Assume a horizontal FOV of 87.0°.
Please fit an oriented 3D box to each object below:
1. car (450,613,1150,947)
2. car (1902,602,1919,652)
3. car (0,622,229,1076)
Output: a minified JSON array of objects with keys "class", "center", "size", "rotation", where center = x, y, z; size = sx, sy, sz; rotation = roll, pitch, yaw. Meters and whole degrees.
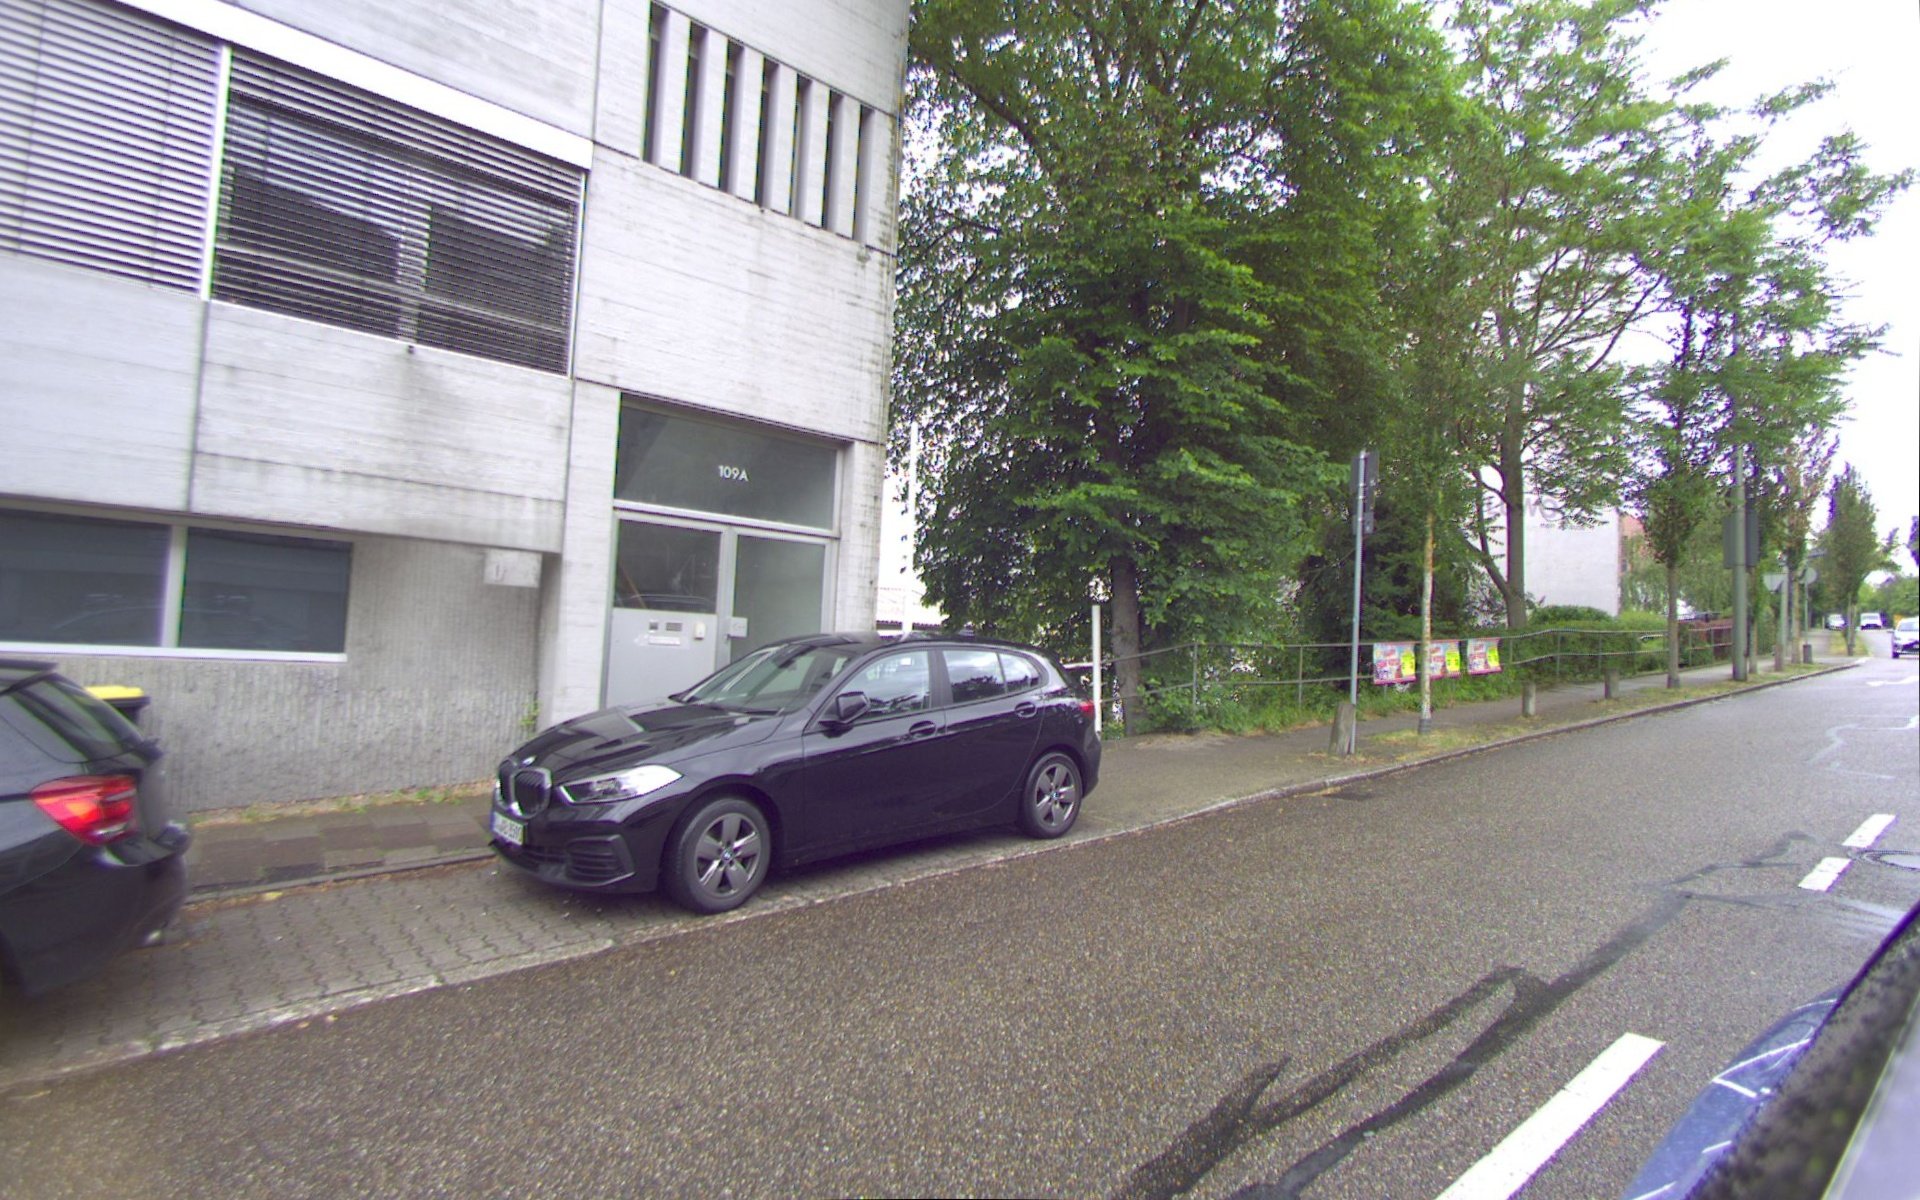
[{"class":"car","center":[-0.841,0.868,6.937],"size":[4.367,1.453,1.996],"rotation":[0,1,-43]},{"class":"car","center":[36.317,1.002,37.503],"size":[1.888,1.741,4.169],"rotation":[2,2,45]},{"class":"car","center":[-4.906,0.850,3.177],"size":[4.173,1.466,1.753],"rotation":[0,0,-38]}]
